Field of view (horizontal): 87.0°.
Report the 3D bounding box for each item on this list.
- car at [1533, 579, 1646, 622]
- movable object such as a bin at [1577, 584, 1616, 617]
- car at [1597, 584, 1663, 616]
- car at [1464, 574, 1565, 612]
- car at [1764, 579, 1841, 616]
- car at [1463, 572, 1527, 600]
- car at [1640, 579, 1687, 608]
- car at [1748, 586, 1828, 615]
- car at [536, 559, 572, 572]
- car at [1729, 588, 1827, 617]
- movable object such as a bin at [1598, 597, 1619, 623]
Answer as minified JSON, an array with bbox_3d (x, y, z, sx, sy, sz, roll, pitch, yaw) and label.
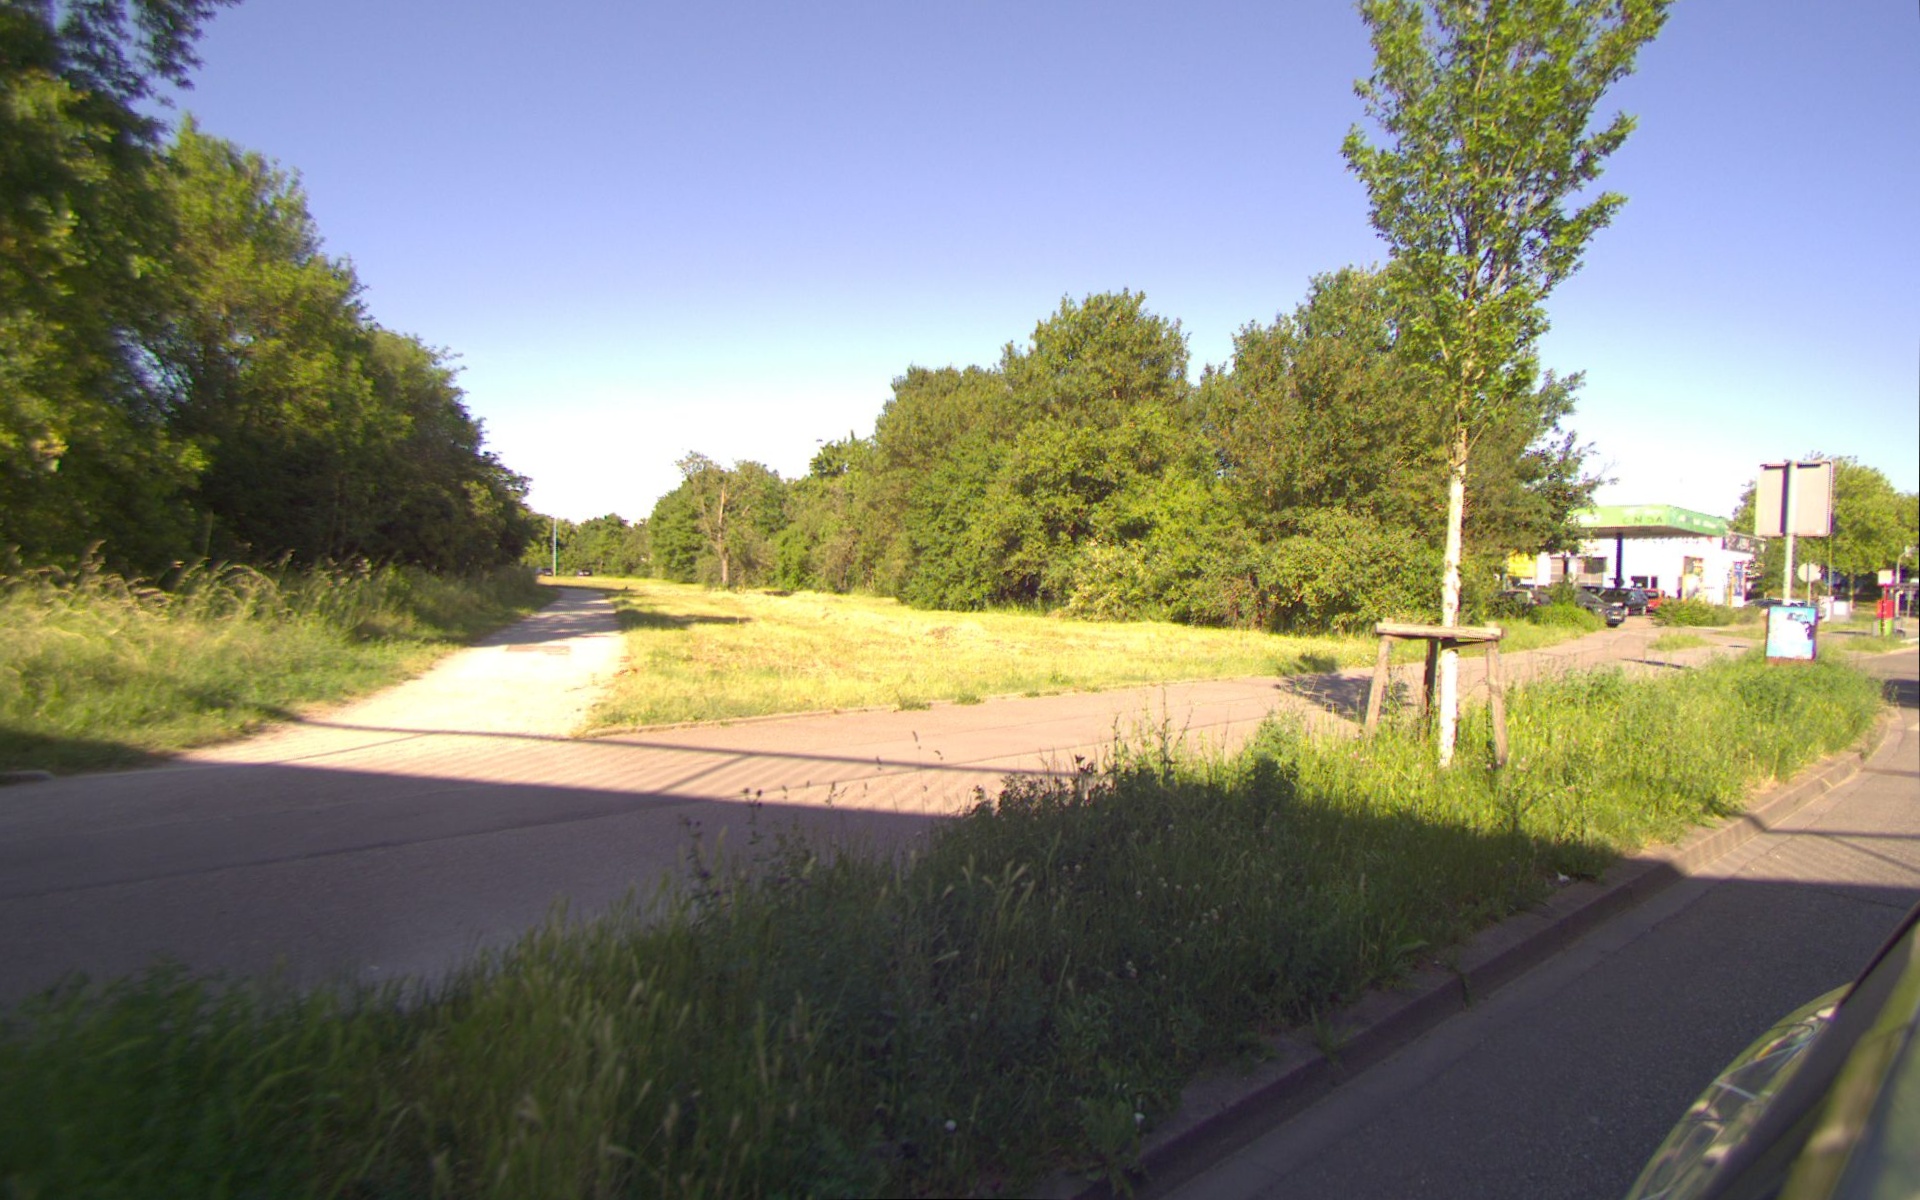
[{"bbox_3d":[29.276,-0.032,47.265,1.764,1.659,4.572,2,3,-11],"label":"car"},{"bbox_3d":[28.134,0.016,44.769,0.972,1.446,1.258,1,0,7],"label":"movable object such as a bin"},{"bbox_3d":[35.885,0.014,54.196,4.172,1.592,1.749,0,2,-39],"label":"car"},{"bbox_3d":[23.088,-0.276,42.217,1.740,1.505,3.291,0,0,-39],"label":"car"},{"bbox_3d":[61.977,-0.209,74.520,1.652,2.035,4.013,5,7,-8],"label":"car"},{"bbox_3d":[39.005,-1.006,73.774,1.890,1.931,3.698,0,0,-40],"label":"car"},{"bbox_3d":[51.444,-0.513,73.985,4.146,1.883,1.896,-1,5,-43],"label":"car"},{"bbox_3d":[59.627,0.004,72.945,1.690,1.468,3.943,1,8,-29],"label":"car"},{"bbox_3d":[-51.295,-4.347,127.846,3.921,1.438,2.002,0,0,-31],"label":"car"},{"bbox_3d":[54.506,0.128,67.532,4.748,1.549,1.900,3,3,3],"label":"car"},{"bbox_3d":[27.637,0.443,43.157,0.572,1.088,0.509,1,0,8],"label":"movable object such as a bin"}]
